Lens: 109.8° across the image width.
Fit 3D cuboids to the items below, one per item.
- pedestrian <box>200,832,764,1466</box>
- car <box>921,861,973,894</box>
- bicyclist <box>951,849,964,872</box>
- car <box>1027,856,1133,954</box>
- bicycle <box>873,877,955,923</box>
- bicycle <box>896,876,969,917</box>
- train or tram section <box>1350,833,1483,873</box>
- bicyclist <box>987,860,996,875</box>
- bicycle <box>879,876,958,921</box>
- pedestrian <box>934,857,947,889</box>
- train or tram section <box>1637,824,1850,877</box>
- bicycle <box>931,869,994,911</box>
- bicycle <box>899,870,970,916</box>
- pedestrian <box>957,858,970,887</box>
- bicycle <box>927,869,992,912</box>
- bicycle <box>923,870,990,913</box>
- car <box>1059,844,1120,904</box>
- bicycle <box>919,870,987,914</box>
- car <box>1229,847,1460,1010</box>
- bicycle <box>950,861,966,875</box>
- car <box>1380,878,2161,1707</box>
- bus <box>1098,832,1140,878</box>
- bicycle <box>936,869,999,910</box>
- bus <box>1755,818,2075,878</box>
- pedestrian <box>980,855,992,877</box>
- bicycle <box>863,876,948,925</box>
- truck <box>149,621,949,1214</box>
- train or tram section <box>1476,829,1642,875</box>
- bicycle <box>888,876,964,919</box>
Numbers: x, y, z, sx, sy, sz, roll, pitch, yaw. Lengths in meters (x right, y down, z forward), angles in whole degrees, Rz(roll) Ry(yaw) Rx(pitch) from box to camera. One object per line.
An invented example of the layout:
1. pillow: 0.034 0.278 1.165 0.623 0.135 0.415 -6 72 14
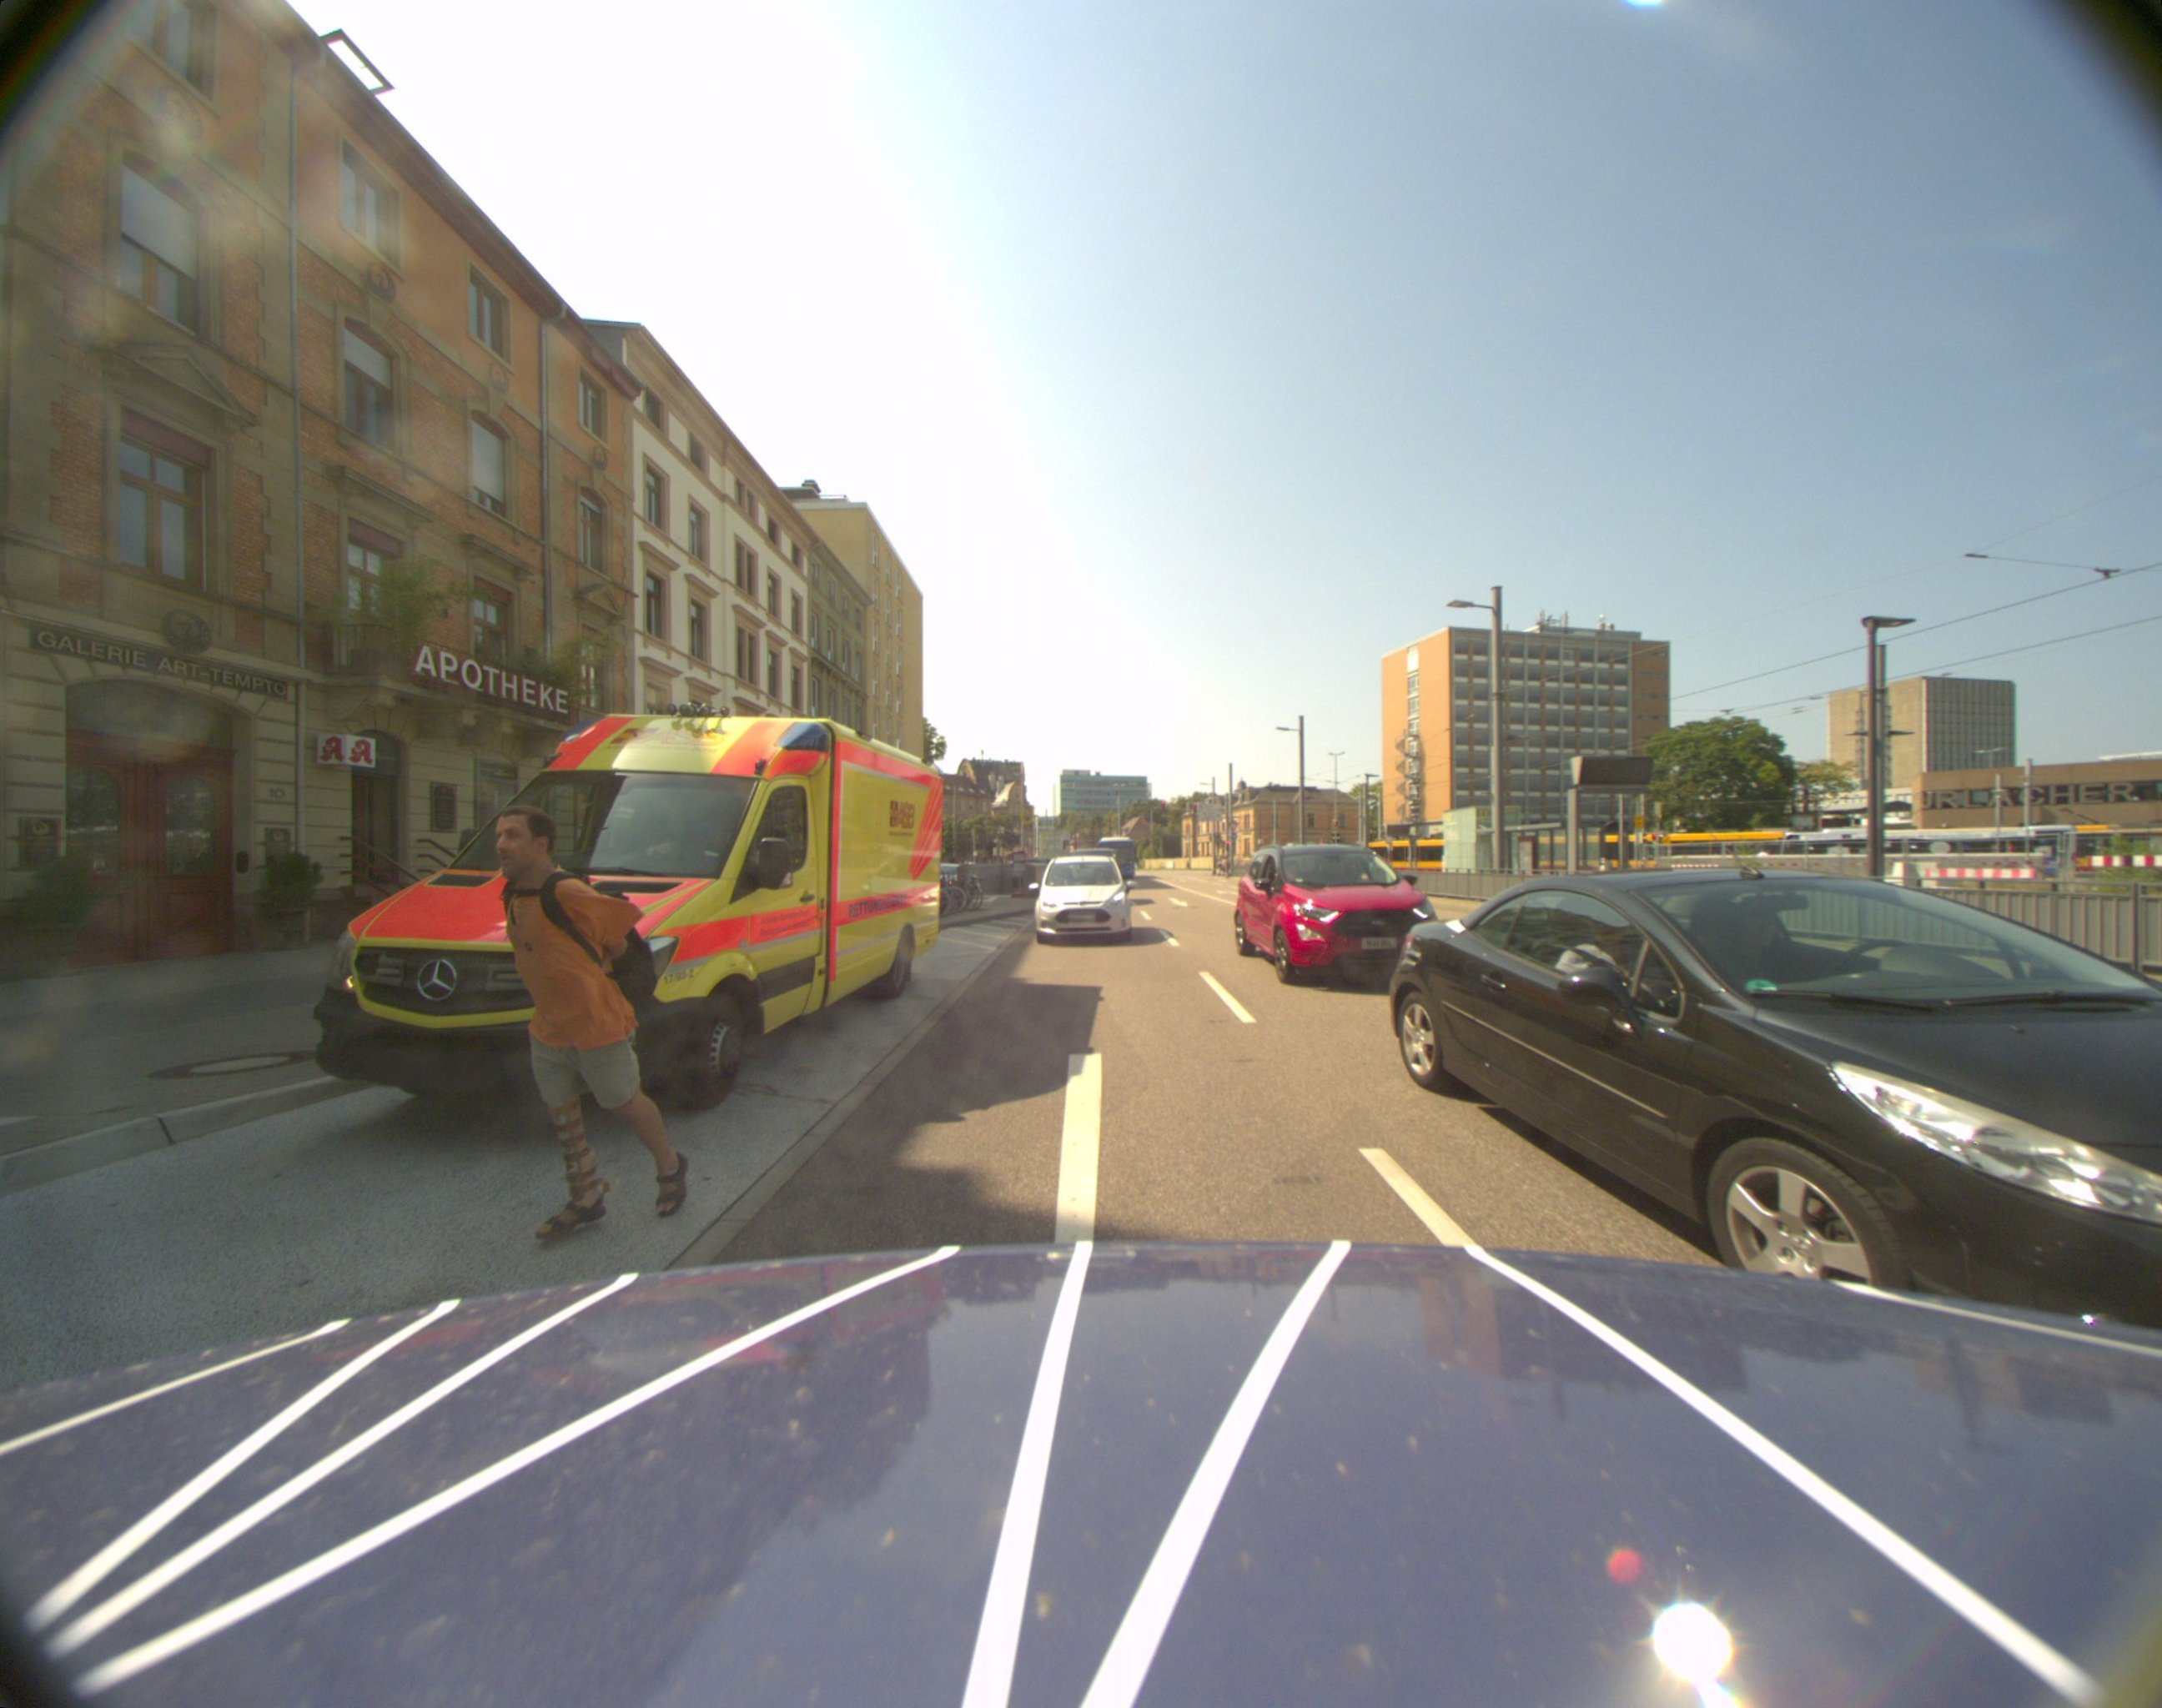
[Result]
1. pedestrian: -2.078 0.842 2.857 0.965 1.730 1.241 4 0 16
2. car: -6.452 1.092 36.911 1.666 1.418 3.934 2 0 2
3. bicyclist: -8.621 0.449 53.153 0.721 1.577 1.103 -1 0 1
4. car: 0.022 0.881 14.926 1.728 1.579 4.000 -3 0 1
5. bicycle: -4.108 1.120 18.777 1.841 1.054 0.657 -2 0 1
6. bicycle: -4.064 1.161 20.832 1.841 1.050 0.657 -2 0 1
7. train or tram section: 33.411 -0.070 76.335 12.332 3.743 2.004 0 0 45
8. bicyclist: -11.743 1.726 99.291 0.857 1.891 0.665 -2 1 28
9. bicycle: -4.156 1.130 19.476 1.841 1.047 0.657 -2 0 1
10. pedestrian: -7.784 1.032 42.186 0.689 1.748 0.796 0 0 -10
11. train or tram section: 50.930 -0.215 59.026 12.332 3.743 2.004 0 0 45
12. bicycle: -3.611 1.103 23.229 1.841 1.196 0.434 -2 0 1
13. bicycle: -4.121 1.092 21.451 1.841 1.196 0.549 -2 0 1
14. pedestrian: -6.808 1.074 43.986 0.645 1.619 0.796 1 0 -1
15. bicycle: -3.637 1.096 22.751 1.841 1.212 0.434 -2 0 1
16. bicycle: -3.647 1.090 22.289 1.841 1.196 0.434 -2 0 1
17. car: 0.327 0.676 27.857 1.998 1.953 4.816 -2 0 1
18. bicycle: -3.670 1.079 21.853 1.841 1.196 0.434 -2 0 1
19. car: 3.067 0.755 9.711 1.634 1.611 3.968 -2 0 2
20. bicycle: -8.610 1.002 53.163 0.721 0.947 2.001 -1 0 2
21. car: 2.862 0.886 3.181 1.692 1.405 3.801 -2 0 0
22. bus: 2.862 0.083 60.326 2.919 3.119 12.345 -2 0 1
23. bicycle: -3.553 1.117 23.829 1.841 1.196 0.637 -2 0 1
24. bus: 51.984 -0.255 48.384 13.371 3.275 3.357 -2 0 45
25. pedestrian: -6.970 0.893 55.761 0.645 1.619 0.797 1 0 6
26. bicycle: -4.121 1.083 17.903 1.807 1.069 0.699 -2 0 0
27. truck: -3.139 0.276 6.787 2.333 2.754 6.340 2 0 4
28. train or tram section: 42.194 -0.120 67.659 12.332 3.743 2.004 0 0 45
29. bicycle: -4.091 1.136 20.142 1.841 1.054 0.657 -2 0 1
